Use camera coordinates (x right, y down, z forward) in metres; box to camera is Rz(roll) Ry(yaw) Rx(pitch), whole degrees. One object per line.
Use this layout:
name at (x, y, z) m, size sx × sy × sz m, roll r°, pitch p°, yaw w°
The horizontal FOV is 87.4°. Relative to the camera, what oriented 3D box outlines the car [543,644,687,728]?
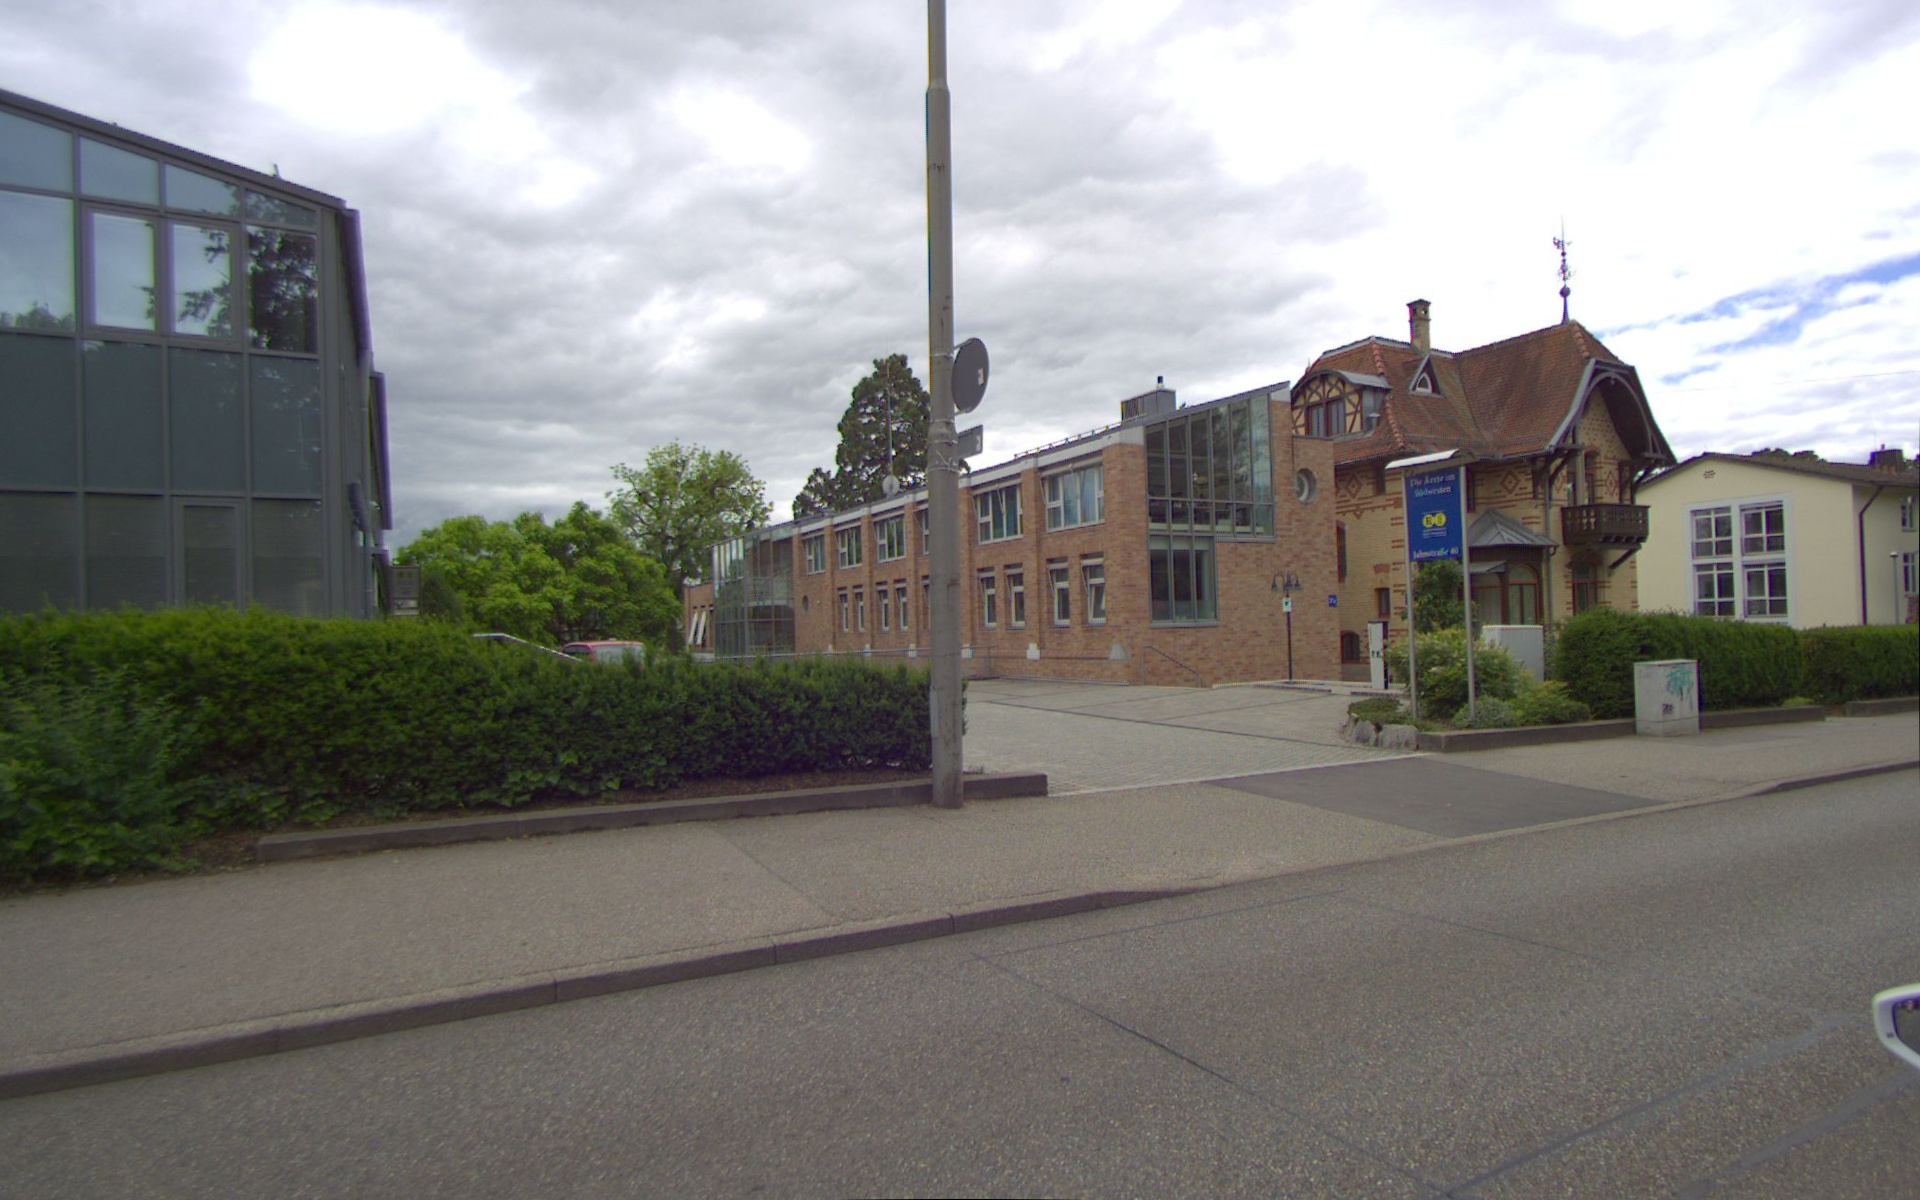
car at (-7.107, 1.676, 20.541) m, size 1.644 × 1.511 × 3.416 m, roll 0°, pitch -2°, yaw -41°
